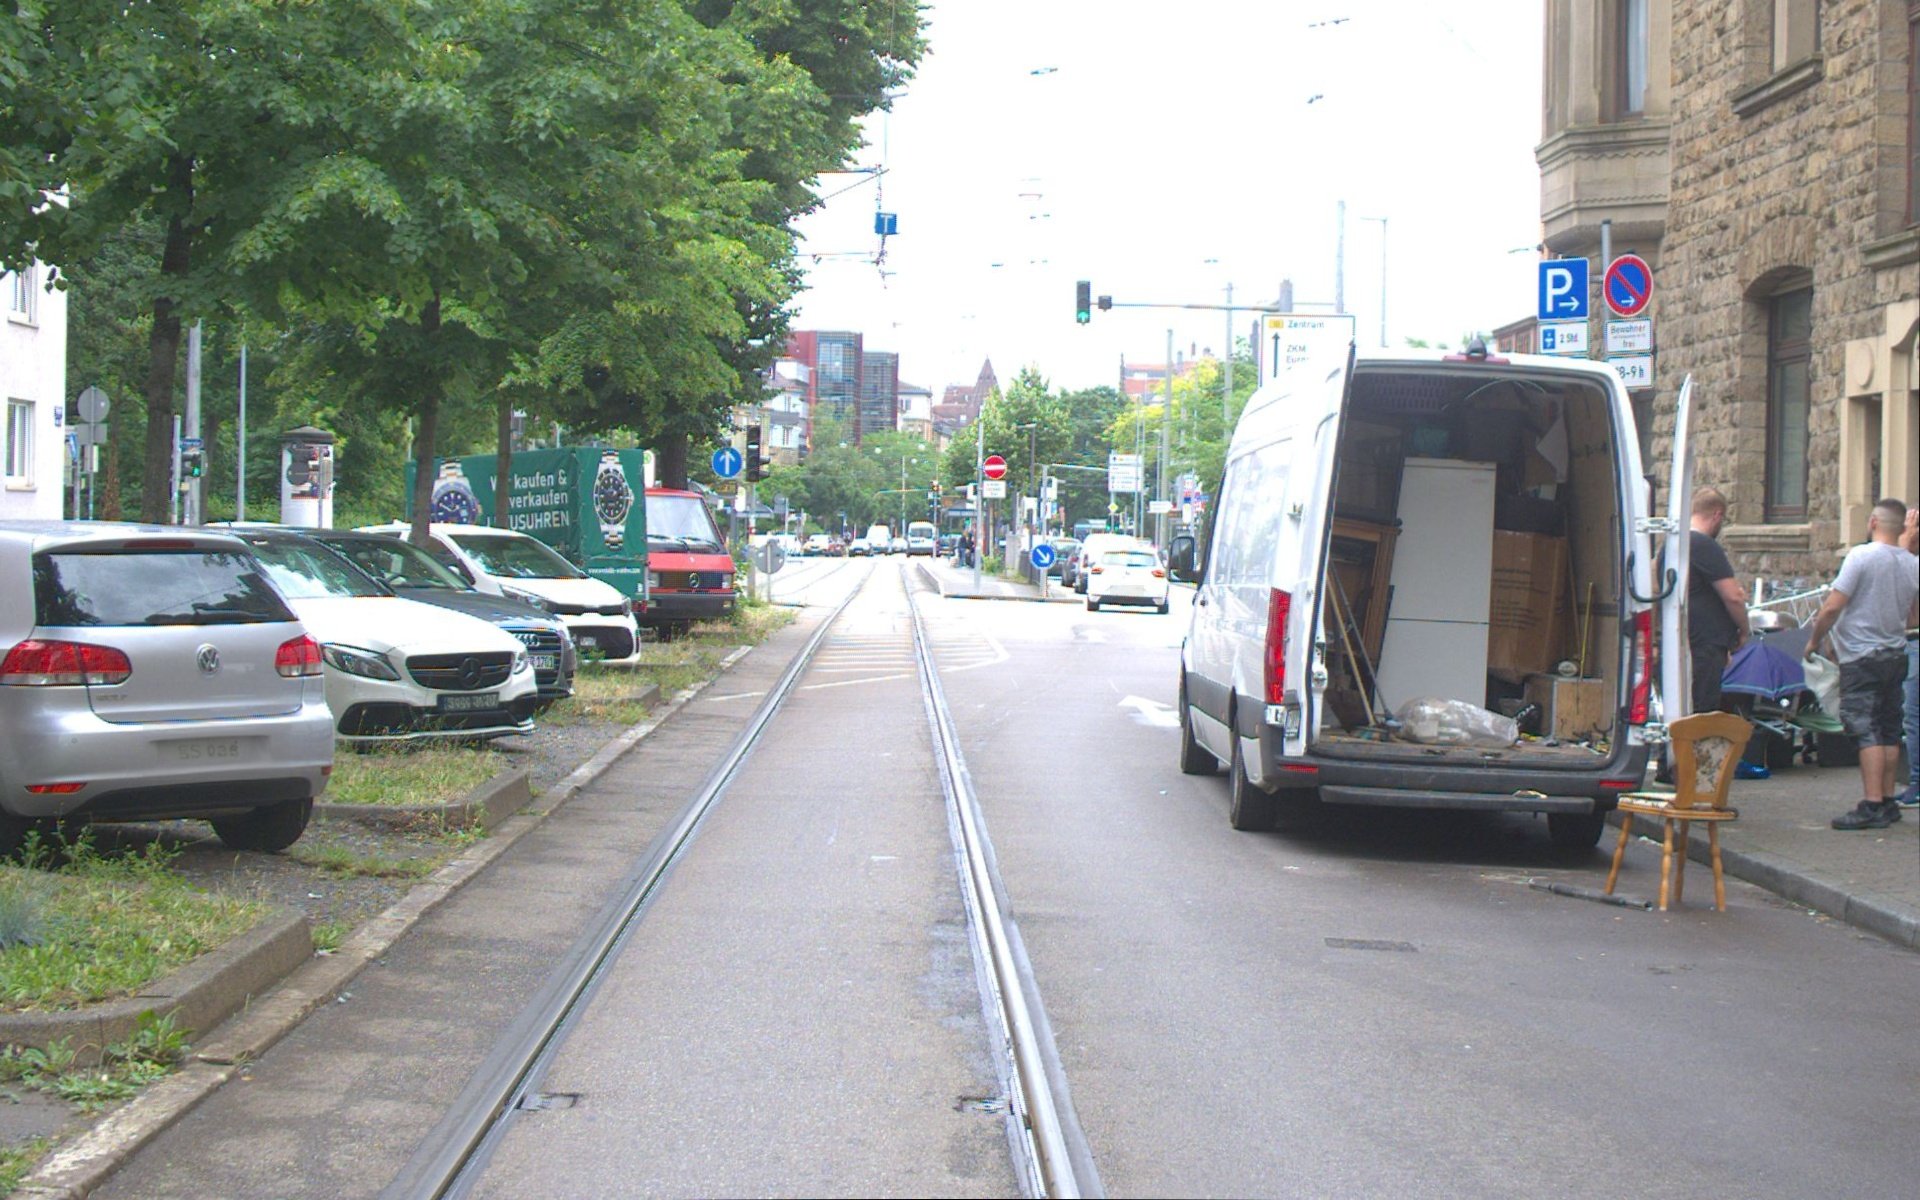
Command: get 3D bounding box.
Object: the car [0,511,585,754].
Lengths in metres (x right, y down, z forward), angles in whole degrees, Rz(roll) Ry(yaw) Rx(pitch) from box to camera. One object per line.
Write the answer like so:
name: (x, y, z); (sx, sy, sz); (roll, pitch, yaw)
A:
car: (-4.881, 0.151, 23.165); (4.684, 1.430, 1.894); (2, 1, 39)

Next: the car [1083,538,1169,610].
car: (3.585, -0.581, 74.190); (1.782, 1.467, 4.010); (2, 1, 3)

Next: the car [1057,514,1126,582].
car: (3.925, -1.578, 102.817); (1.782, 1.956, 4.383); (1, 1, -1)

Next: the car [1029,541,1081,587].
car: (3.634, -1.386, 131.982); (1.782, 1.673, 4.383); (1, 1, -1)

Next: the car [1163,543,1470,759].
car: (2.664, 0.321, 26.779); (1.824, 1.445, 5.007); (2, 1, 0)

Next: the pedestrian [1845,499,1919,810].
pedestrian: (5.343, 0.292, 19.291); (0.507, 1.711, 0.581); (-1, 1, -11)

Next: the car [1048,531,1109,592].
car: (3.939, -1.294, 114.698); (1.782, 1.956, 4.383); (1, 1, -1)

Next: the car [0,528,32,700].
car: (-9.150, 0.119, 28.739); (1.644, 1.499, 4.622); (1, 1, -2)

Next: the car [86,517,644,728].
car: (-4.615, 0.121, 26.325); (4.337, 1.430, 1.894); (2, 2, 41)

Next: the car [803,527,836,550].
car: (-9.784, -4.271, 239.397); (1.770, 1.488, 3.886); (1, 1, 5)

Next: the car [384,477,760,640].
car: (-5.031, -0.569, 44.249); (4.763, 1.967, 1.955); (2, 1, 38)

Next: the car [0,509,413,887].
car: (-4.534, 0.325, 15.526); (4.114, 1.479, 1.793); (2, 1, 40)

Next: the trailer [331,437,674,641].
trailer: (-5.509, -0.756, 41.345); (3.666, 2.336, 1.927); (2, 1, 32)

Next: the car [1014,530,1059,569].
car: (3.381, -2.242, 152.496); (1.782, 1.673, 4.383); (1, 1, -1)

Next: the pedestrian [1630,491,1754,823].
pedestrian: (4.083, 0.303, 19.202); (0.499, 1.809, 0.803); (-1, 1, 0)

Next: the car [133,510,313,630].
car: (-9.776, -0.412, 45.858); (1.644, 1.499, 3.884); (1, 1, -2)

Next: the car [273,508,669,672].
car: (-4.783, -0.129, 33.371); (3.860, 1.458, 1.685); (2, 2, 41)

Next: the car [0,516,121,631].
car: (-12.455, -0.389, 45.707); (1.634, 1.438, 4.571); (1, 1, -3)

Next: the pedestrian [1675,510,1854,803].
pedestrian: (4.775, 0.320, 20.416); (0.862, 1.694, 0.538); (-1, 1, -15)

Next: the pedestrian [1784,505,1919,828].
pedestrian: (4.877, 0.343, 18.468); (0.702, 1.694, 0.493); (-2, 1, -28)

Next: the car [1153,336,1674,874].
car: (2.421, -0.043, 20.366); (2.013, 2.540, 7.017); (3, 1, 0)
